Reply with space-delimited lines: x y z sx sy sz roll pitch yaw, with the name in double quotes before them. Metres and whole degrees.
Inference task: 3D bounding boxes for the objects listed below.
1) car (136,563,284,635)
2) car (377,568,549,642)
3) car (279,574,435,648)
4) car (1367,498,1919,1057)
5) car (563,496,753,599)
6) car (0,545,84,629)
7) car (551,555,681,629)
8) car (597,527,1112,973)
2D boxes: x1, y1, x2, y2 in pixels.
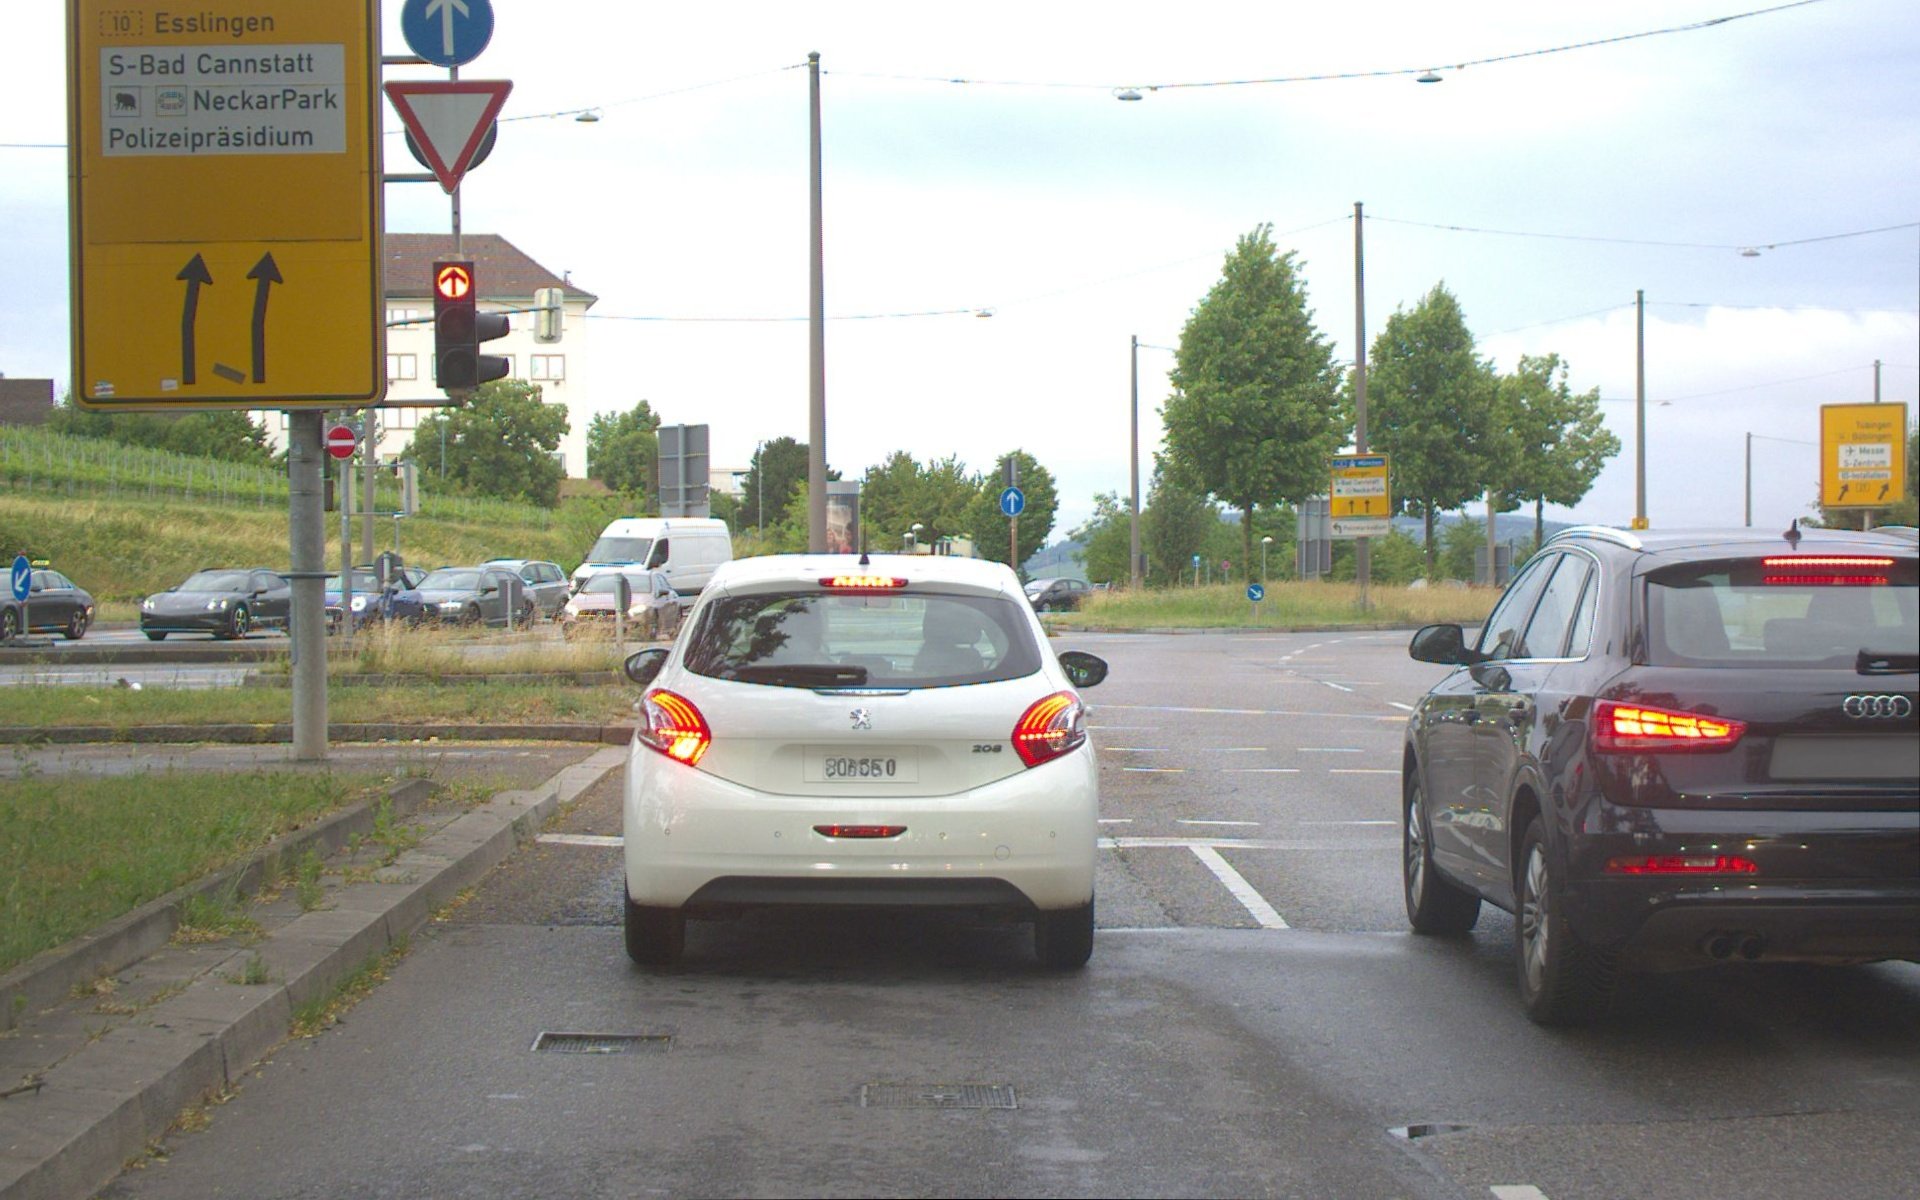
"car" -15.105 -0.002 69.456 1.787 1.391 3.881 1 0 5
"car" -10.603 0.108 73.726 1.902 1.484 4.889 1 0 14
"car" -11.837 0.231 67.710 1.787 1.391 3.880 1 0 10
"car" 2.654 0.517 12.044 1.884 1.590 4.113 2 0 0
"car" -7.956 -1.353 91.357 1.996 2.550 6.160 2 0 27
"car" -19.021 -0.279 67.945 1.830 1.618 4.565 2 0 6
"car" -6.810 -0.160 68.416 1.776 1.420 4.373 0 0 5
"car" -0.380 0.493 13.586 1.718 1.484 4.000 1 0 -1
